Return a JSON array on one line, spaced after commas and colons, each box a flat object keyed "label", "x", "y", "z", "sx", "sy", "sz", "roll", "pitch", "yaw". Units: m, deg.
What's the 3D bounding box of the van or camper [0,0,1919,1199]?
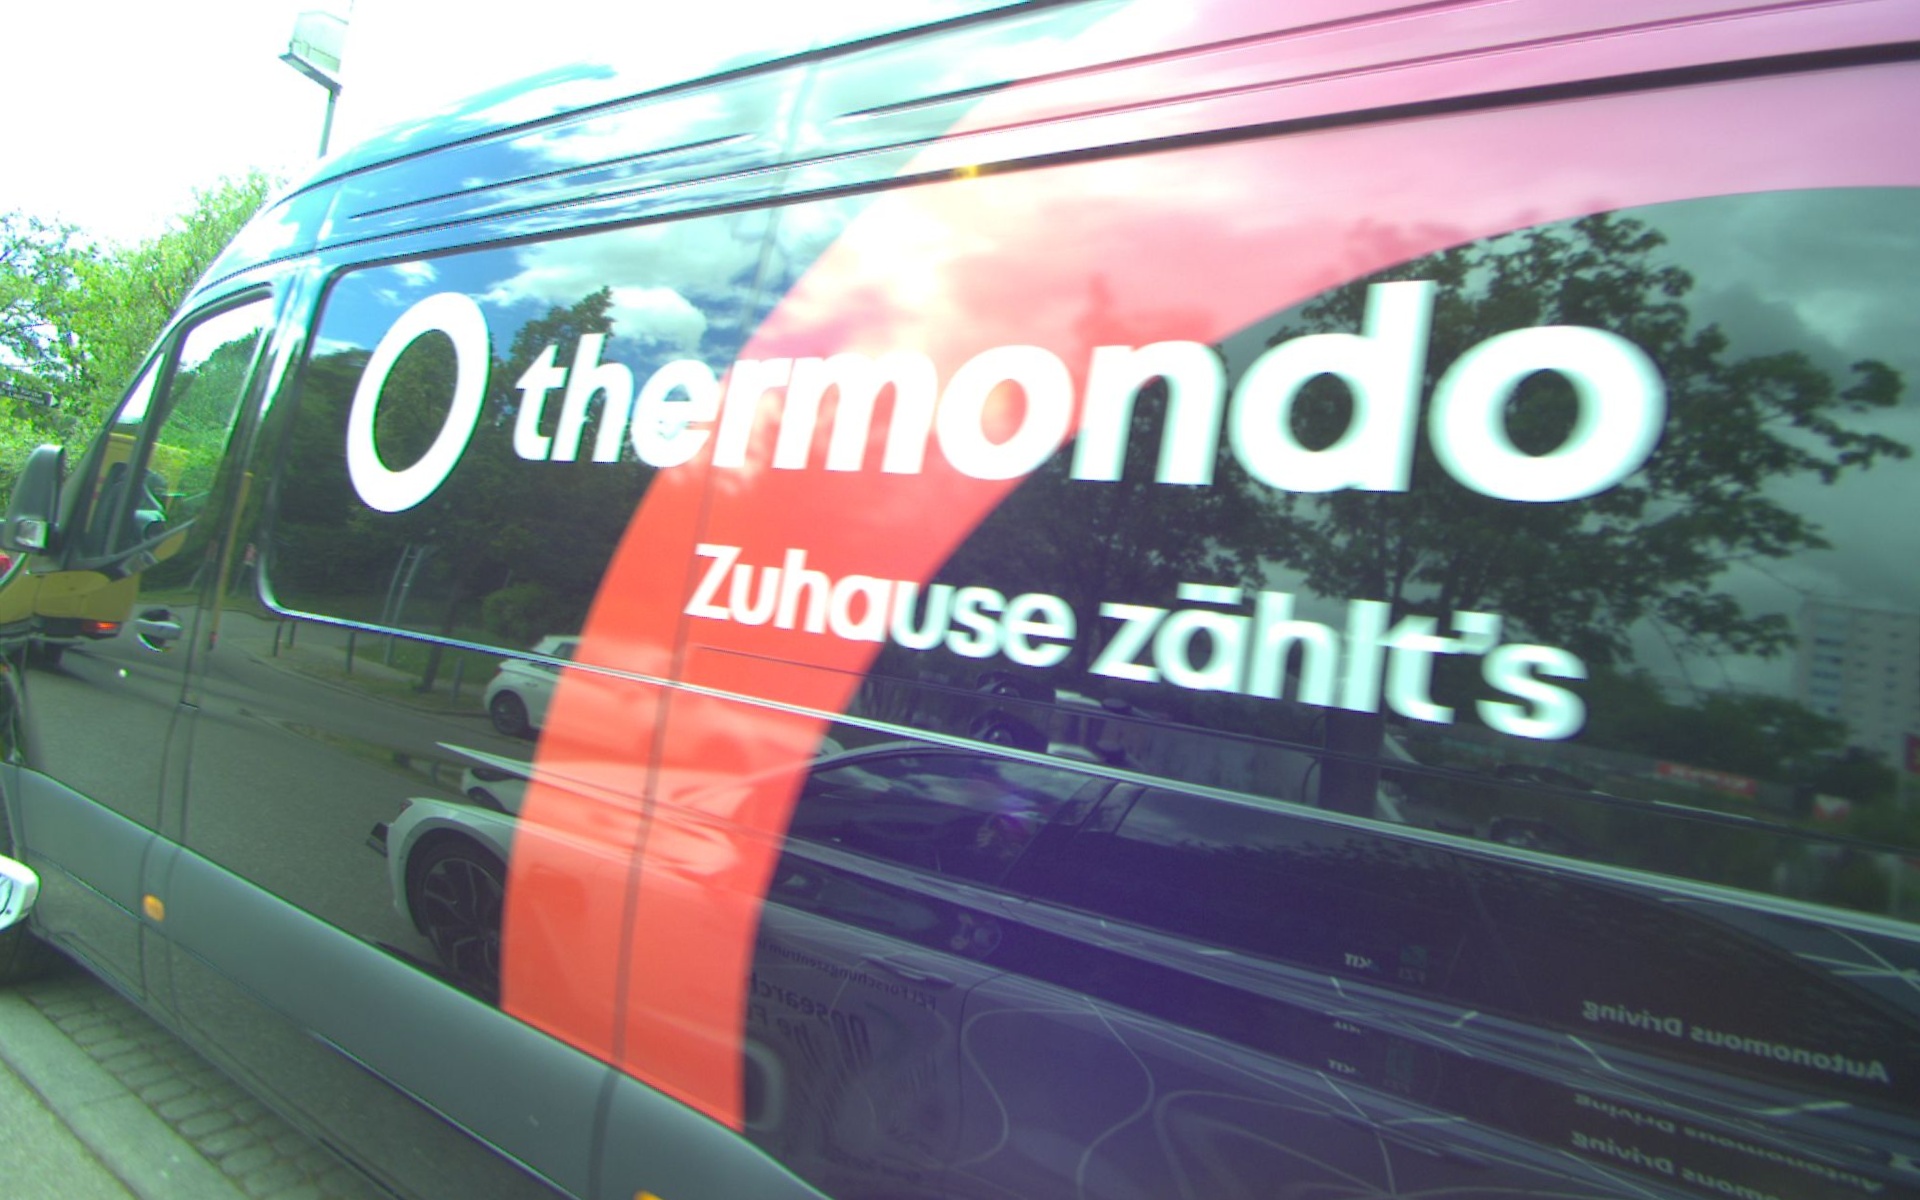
[{"label": "van or camper", "x": -0.690, "y": 0.036, "z": 2.608, "sx": 5.380, "sy": 2.554, "sz": 1.996, "roll": 7, "pitch": 0, "yaw": 32}]

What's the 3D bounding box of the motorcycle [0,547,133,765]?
[{"label": "motorcycle", "x": -5.870, "y": 0.207, "z": 5.598, "sx": 2.046, "sy": 1.124, "sz": 0.903, "roll": 6, "pitch": -3, "yaw": 19}]

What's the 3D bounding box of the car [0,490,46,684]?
[{"label": "car", "x": -9.251, "y": -0.364, "z": 7.947, "sx": 3.901, "sy": 1.449, "sz": 1.734, "roll": 6, "pitch": -3, "yaw": 29}]
